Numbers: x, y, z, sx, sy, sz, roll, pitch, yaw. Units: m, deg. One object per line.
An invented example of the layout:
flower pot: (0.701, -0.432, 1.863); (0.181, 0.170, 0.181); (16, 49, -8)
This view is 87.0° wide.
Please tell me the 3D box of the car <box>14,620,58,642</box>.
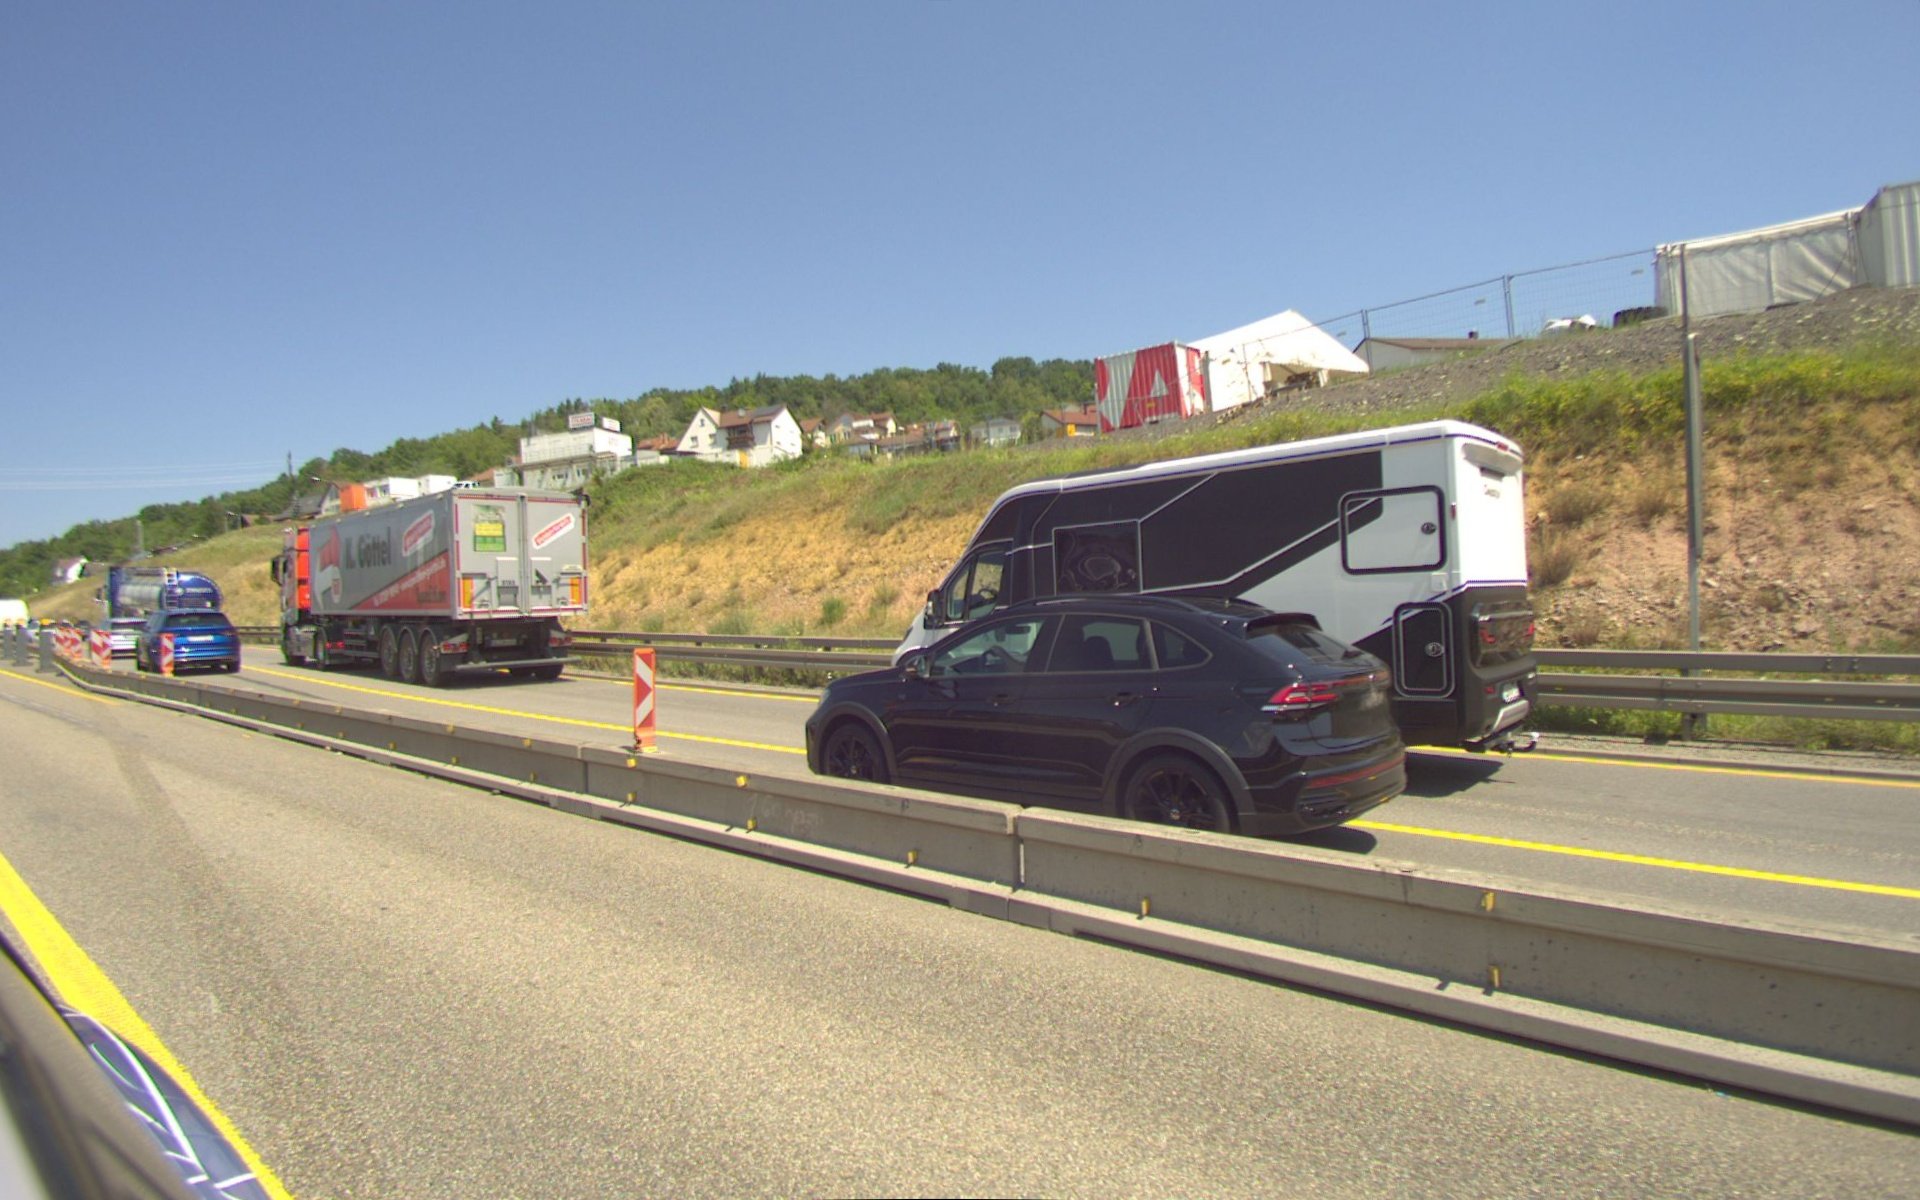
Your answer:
car: (-67.811, 2.249, 74.227); (4.386, 1.502, 1.815); (-1, 0, 40)

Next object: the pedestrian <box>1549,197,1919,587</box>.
pedestrian: (5.924, -1.131, 5.908); (3.998, 2.029, 1.973); (-1, 0, 41)

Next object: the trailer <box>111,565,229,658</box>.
trailer: (-37.198, 0.512, 47.440); (11.273, 3.899, 2.572); (-1, 0, 43)

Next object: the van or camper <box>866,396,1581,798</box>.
van or camper: (2.060, 0.020, 9.826); (6.454, 2.725, 2.101); (-1, 0, 43)

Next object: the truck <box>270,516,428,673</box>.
truck: (-16.803, -0.135, 27.706); (2.555, 3.857, 5.385); (-1, 0, -44)

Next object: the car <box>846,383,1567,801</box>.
car: (1.945, -0.043, 9.905); (6.556, 2.842, 2.251); (-1, 0, 41)

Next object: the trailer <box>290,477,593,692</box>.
trailer: (-12.354, -0.255, 23.154); (11.827, 3.844, 2.625); (-1, 0, 45)

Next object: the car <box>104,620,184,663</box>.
car: (-30.092, 1.493, 37.262); (1.813, 1.440, 4.537); (-1, 0, -45)

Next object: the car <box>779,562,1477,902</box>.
car: (0.840, 0.641, 6.601); (4.184, 1.529, 1.735); (-2, -1, 42)

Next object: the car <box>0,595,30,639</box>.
car: (-60.333, 1.090, 63.403); (6.623, 2.649, 2.184); (-1, 0, 40)

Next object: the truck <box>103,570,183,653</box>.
truck: (-41.715, 0.553, 51.636); (4.589, 4.006, 2.554); (-1, 0, 43)

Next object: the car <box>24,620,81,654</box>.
car: (-44.312, 1.761, 49.391); (1.813, 1.530, 4.846); (-1, 0, -45)

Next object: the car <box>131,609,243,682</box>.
car: (-19.960, 1.093, 26.049); (1.812, 1.676, 4.689); (-1, 0, -43)
